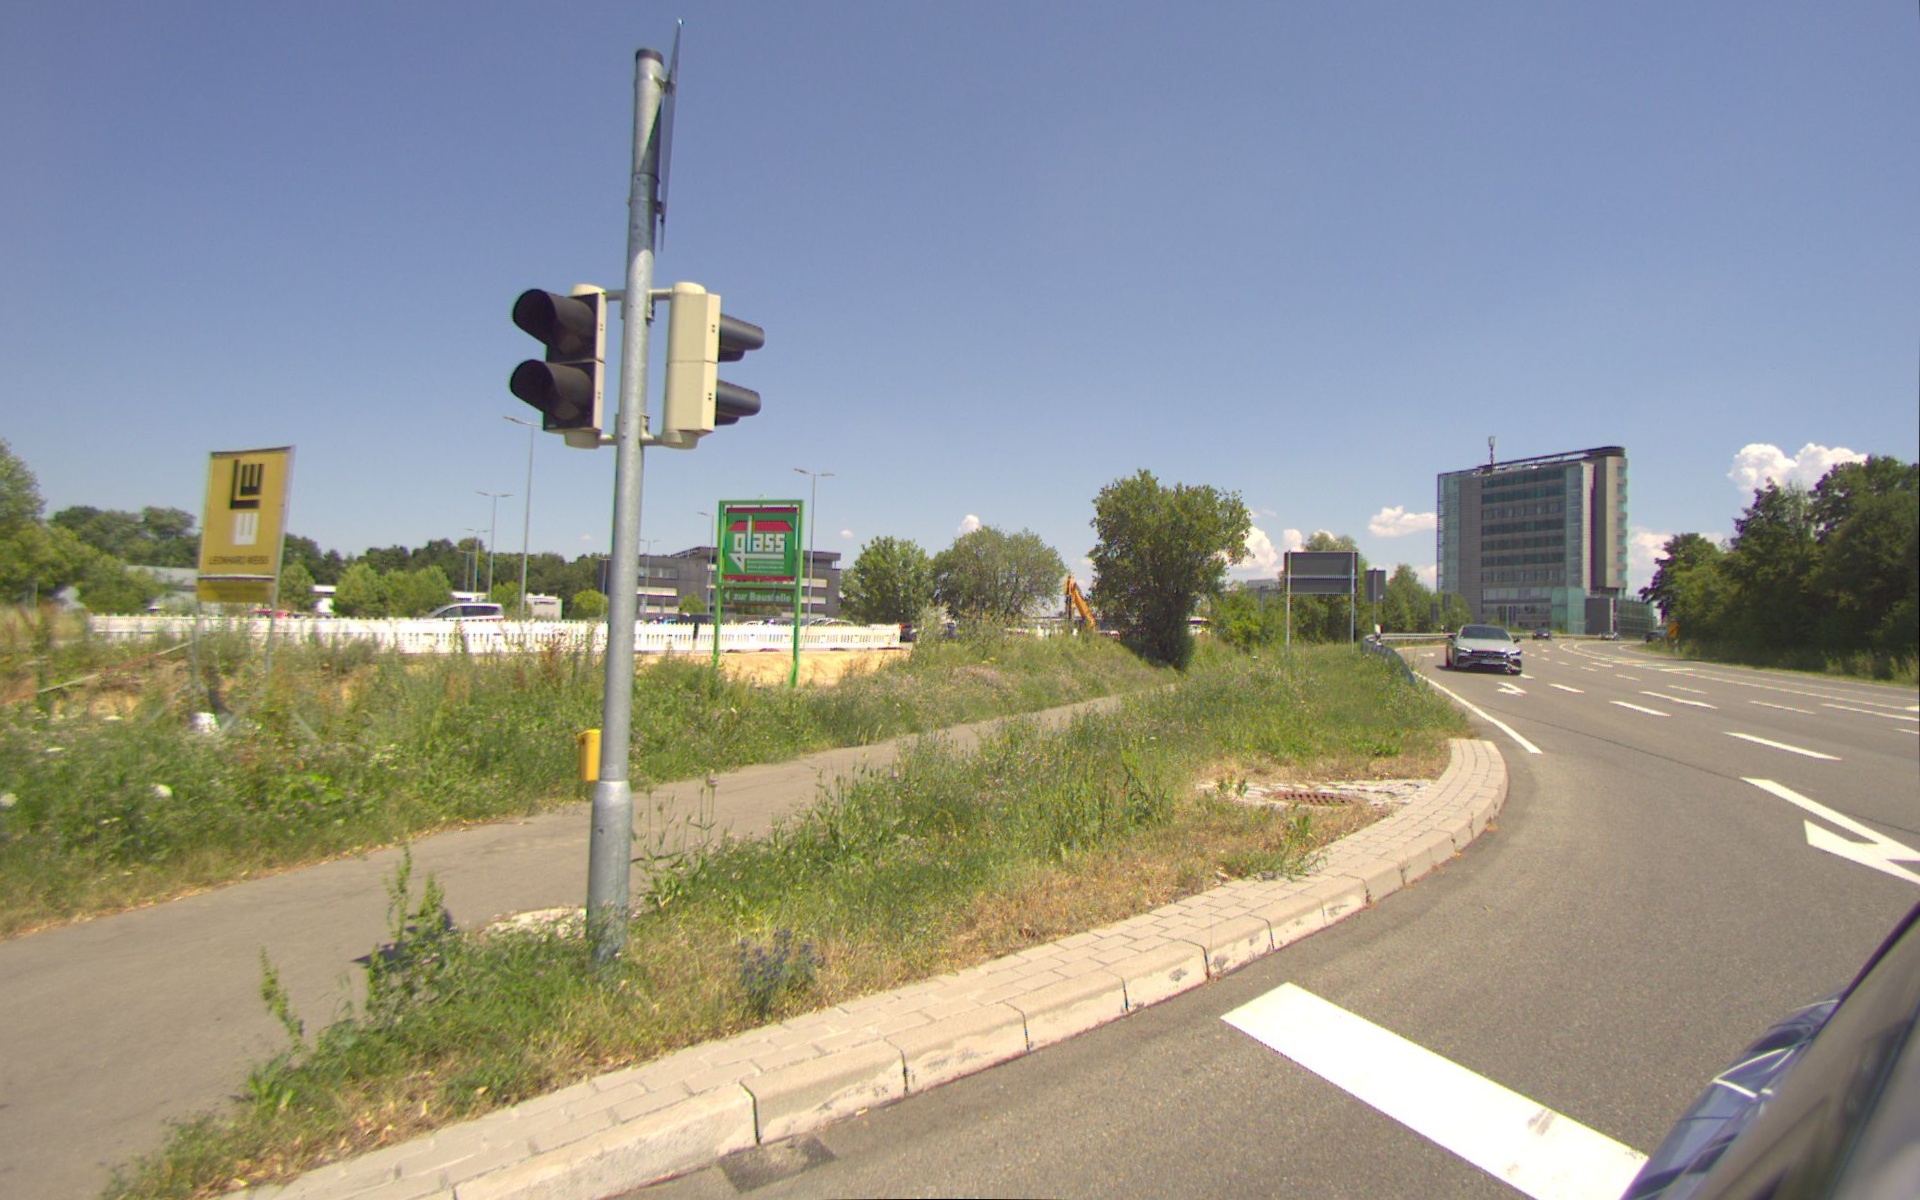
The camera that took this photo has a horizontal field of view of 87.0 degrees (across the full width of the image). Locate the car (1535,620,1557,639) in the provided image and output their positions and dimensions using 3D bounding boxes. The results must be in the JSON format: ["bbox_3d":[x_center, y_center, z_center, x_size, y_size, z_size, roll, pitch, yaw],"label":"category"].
[{"bbox_3d":[69.037,3.431,119.262,1.981,2.039,3.963,2,1,26],"label":"car"}]

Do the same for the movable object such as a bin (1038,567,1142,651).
[{"bbox_3d":[7.084,0.406,53.942,2.959,4.095,8.031,2,1,26],"label":"movable object such as a bin"}]

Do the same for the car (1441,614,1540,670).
[{"bbox_3d":[16.304,1.272,31.331,1.898,1.460,4.454,4,-1,18],"label":"car"}]

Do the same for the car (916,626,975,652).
[{"bbox_3d":[-1.039,2.798,73.524,3.929,1.660,1.998,1,1,-40],"label":"car"}]

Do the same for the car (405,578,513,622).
[{"bbox_3d":[-23.353,0.043,47.170,4.387,1.939,1.942,1,-1,-30],"label":"car"}]

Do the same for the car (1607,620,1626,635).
[{"bbox_3d":[100.649,4.205,155.163,1.991,2.039,3.943,2,1,39],"label":"car"}]

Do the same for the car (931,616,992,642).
[{"bbox_3d":[0.120,1.991,71.056,3.929,1.660,1.998,1,1,-40],"label":"car"}]
